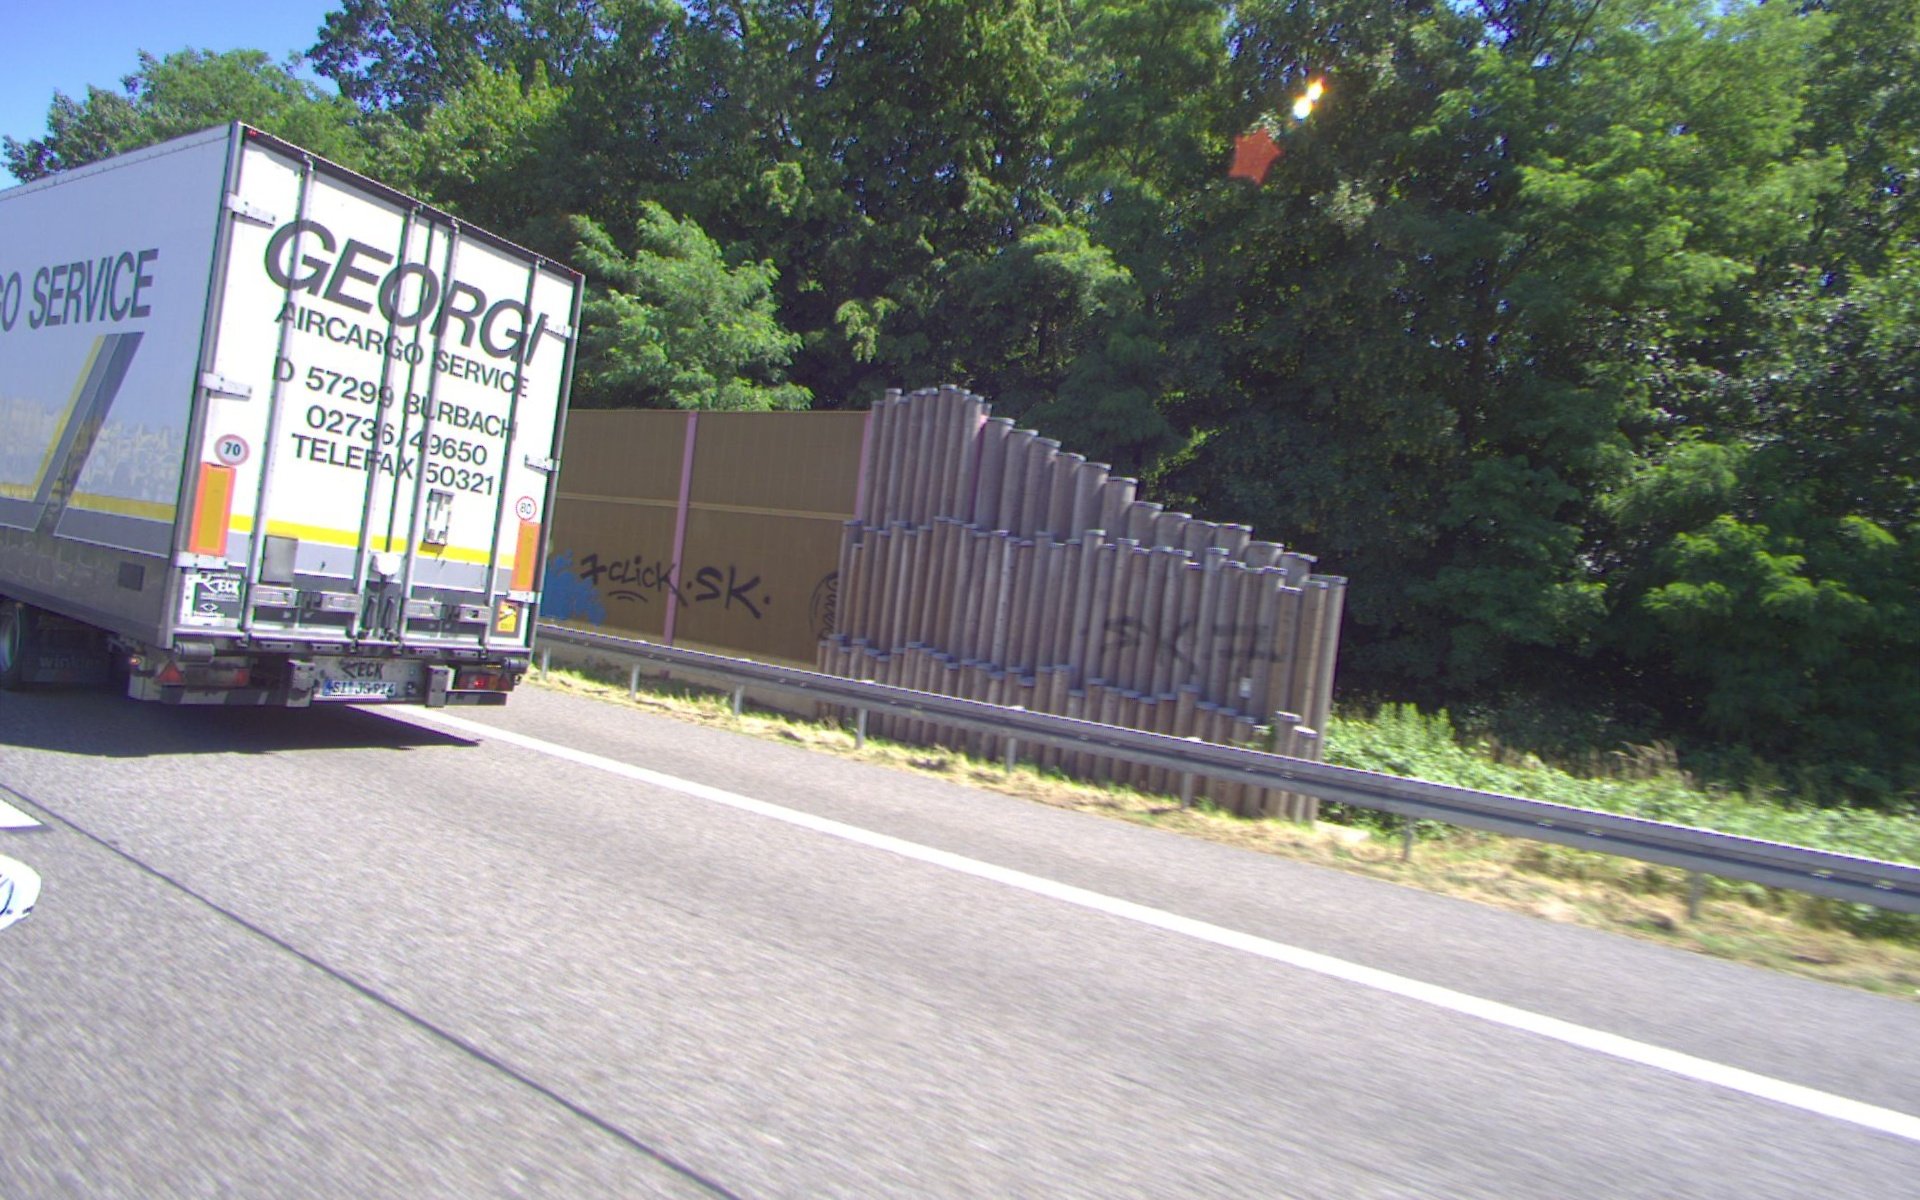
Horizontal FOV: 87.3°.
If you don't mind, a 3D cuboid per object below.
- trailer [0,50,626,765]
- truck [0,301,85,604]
[{"bbox_3d":[-9.481,-1.676,10.790,13.194,4.339,2.999,7,-1,32],"label":"trailer"},{"bbox_3d":[-16.071,-2.382,14.873,5.165,4.174,3.007,7,-1,31],"label":"truck"}]
